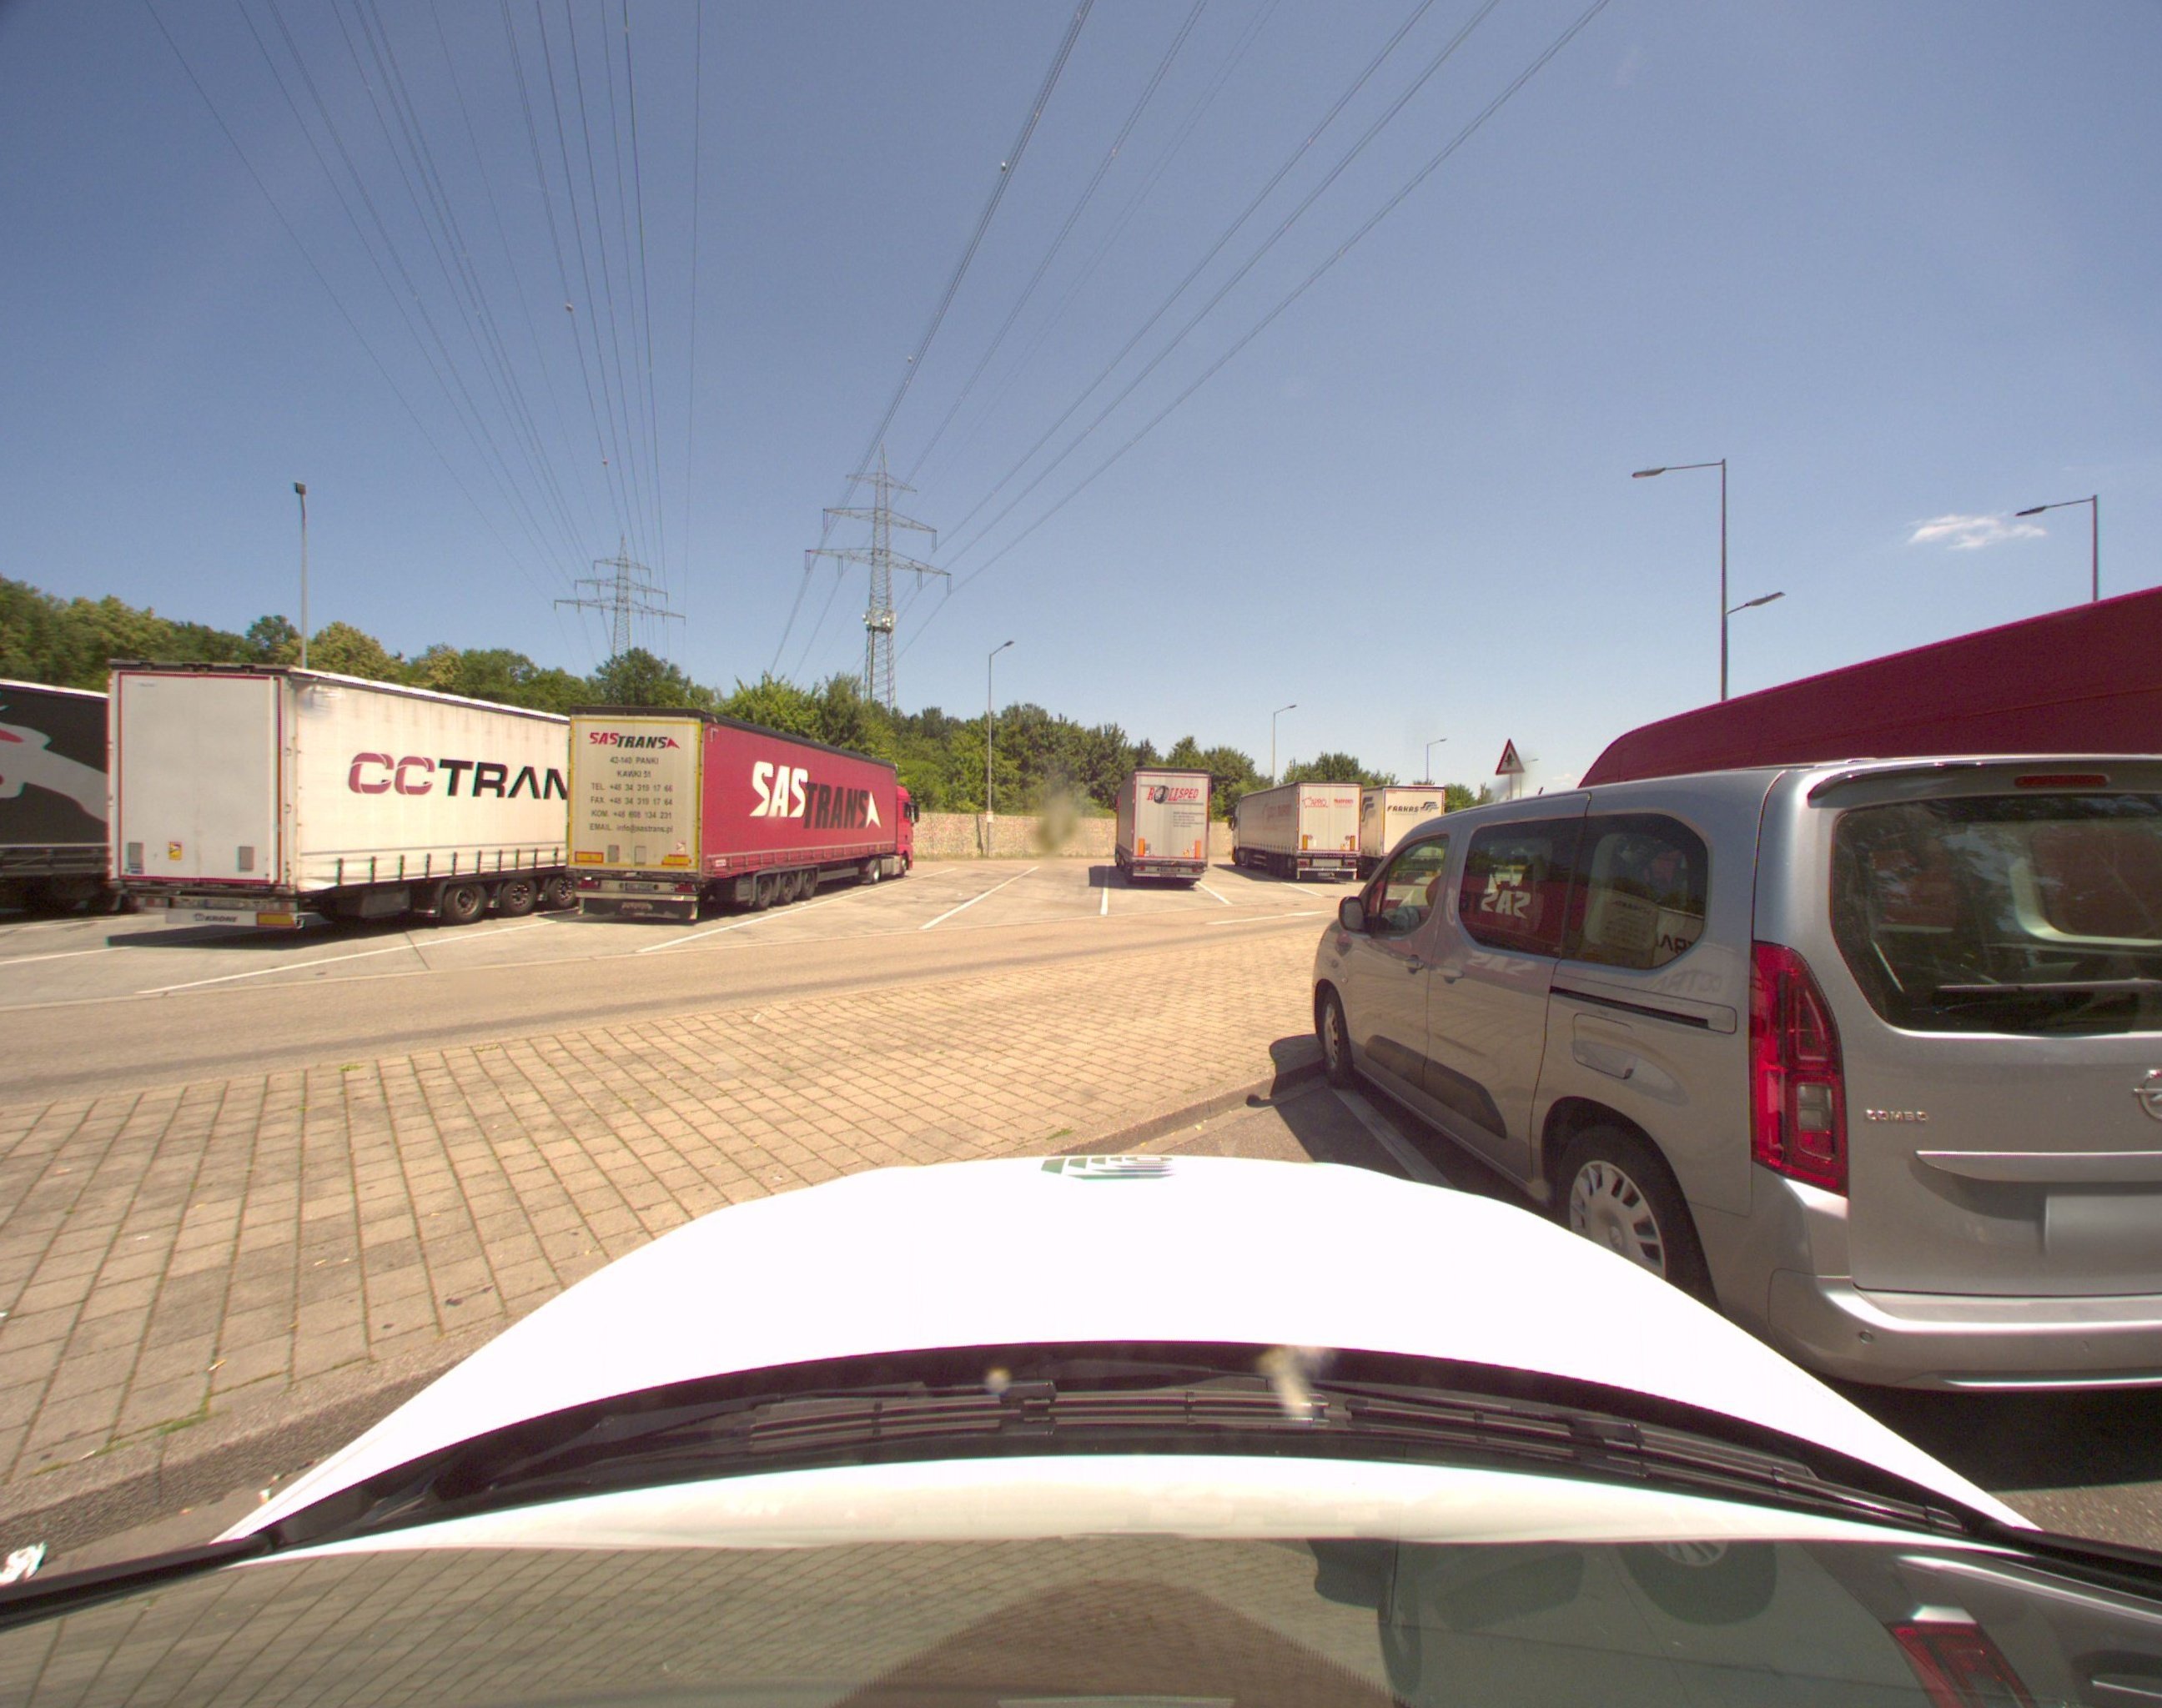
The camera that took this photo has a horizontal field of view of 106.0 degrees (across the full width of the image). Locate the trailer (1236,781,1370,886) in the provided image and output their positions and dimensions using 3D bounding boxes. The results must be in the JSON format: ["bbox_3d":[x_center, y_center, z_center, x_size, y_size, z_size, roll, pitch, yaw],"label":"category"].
[{"bbox_3d":[9.929,-1.042,38.640,2.801,3.989,14.403,1,2,2],"label":"trailer"}]

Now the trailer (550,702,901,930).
[{"bbox_3d":[-8.064,-0.943,21.902,2.781,4.084,14.139,1,2,2],"label":"trailer"}]

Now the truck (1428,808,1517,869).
[{"bbox_3d":[24.357,-1.004,50.980,2.792,3.521,5.903,1,2,2],"label":"truck"}]

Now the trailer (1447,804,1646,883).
[{"bbox_3d":[24.100,-0.733,43.749,2.801,3.507,14.403,1,2,2],"label":"trailer"}]

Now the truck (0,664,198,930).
[{"bbox_3d":[-18.541,-0.963,13.781,2.726,4.239,3.997,1,2,2],"label":"truck"}]

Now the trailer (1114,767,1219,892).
[{"bbox_3d":[3.063,-1.060,33.692,3.122,3.989,14.401,1,2,1],"label":"trailer"}]

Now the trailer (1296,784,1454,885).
[{"bbox_3d":[13.603,-1.033,39.603,2.801,3.989,14.403,1,2,2],"label":"trailer"}]

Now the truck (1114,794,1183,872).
[{"bbox_3d":[3.230,-1.076,40.586,3.092,3.566,5.903,1,2,2],"label":"truck"}]

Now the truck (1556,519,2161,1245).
[{"bbox_3d":[5.134,0.120,4.903,1.968,2.622,5.314,0,-1,7],"label":"truck"}]

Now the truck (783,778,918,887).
[{"bbox_3d":[-7.816,-0.779,28.472,2.840,3.327,5.903,1,2,2],"label":"truck"}]

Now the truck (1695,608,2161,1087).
[{"bbox_3d":[7.990,-0.036,6.451,2.444,2.912,5.663,-1,-1,7],"label":"truck"}]

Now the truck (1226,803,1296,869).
[{"bbox_3d":[10.192,-1.071,46.741,2.852,3.521,5.903,1,2,2],"label":"truck"}]

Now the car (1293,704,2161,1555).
[{"bbox_3d":[2.488,0.576,3.879,1.864,1.863,4.176,1,1,0],"label":"car"}]

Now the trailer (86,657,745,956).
[{"bbox_3d":[-12.129,-0.906,18.333,2.785,4.084,14.139,1,2,2],"label":"trailer"}]
